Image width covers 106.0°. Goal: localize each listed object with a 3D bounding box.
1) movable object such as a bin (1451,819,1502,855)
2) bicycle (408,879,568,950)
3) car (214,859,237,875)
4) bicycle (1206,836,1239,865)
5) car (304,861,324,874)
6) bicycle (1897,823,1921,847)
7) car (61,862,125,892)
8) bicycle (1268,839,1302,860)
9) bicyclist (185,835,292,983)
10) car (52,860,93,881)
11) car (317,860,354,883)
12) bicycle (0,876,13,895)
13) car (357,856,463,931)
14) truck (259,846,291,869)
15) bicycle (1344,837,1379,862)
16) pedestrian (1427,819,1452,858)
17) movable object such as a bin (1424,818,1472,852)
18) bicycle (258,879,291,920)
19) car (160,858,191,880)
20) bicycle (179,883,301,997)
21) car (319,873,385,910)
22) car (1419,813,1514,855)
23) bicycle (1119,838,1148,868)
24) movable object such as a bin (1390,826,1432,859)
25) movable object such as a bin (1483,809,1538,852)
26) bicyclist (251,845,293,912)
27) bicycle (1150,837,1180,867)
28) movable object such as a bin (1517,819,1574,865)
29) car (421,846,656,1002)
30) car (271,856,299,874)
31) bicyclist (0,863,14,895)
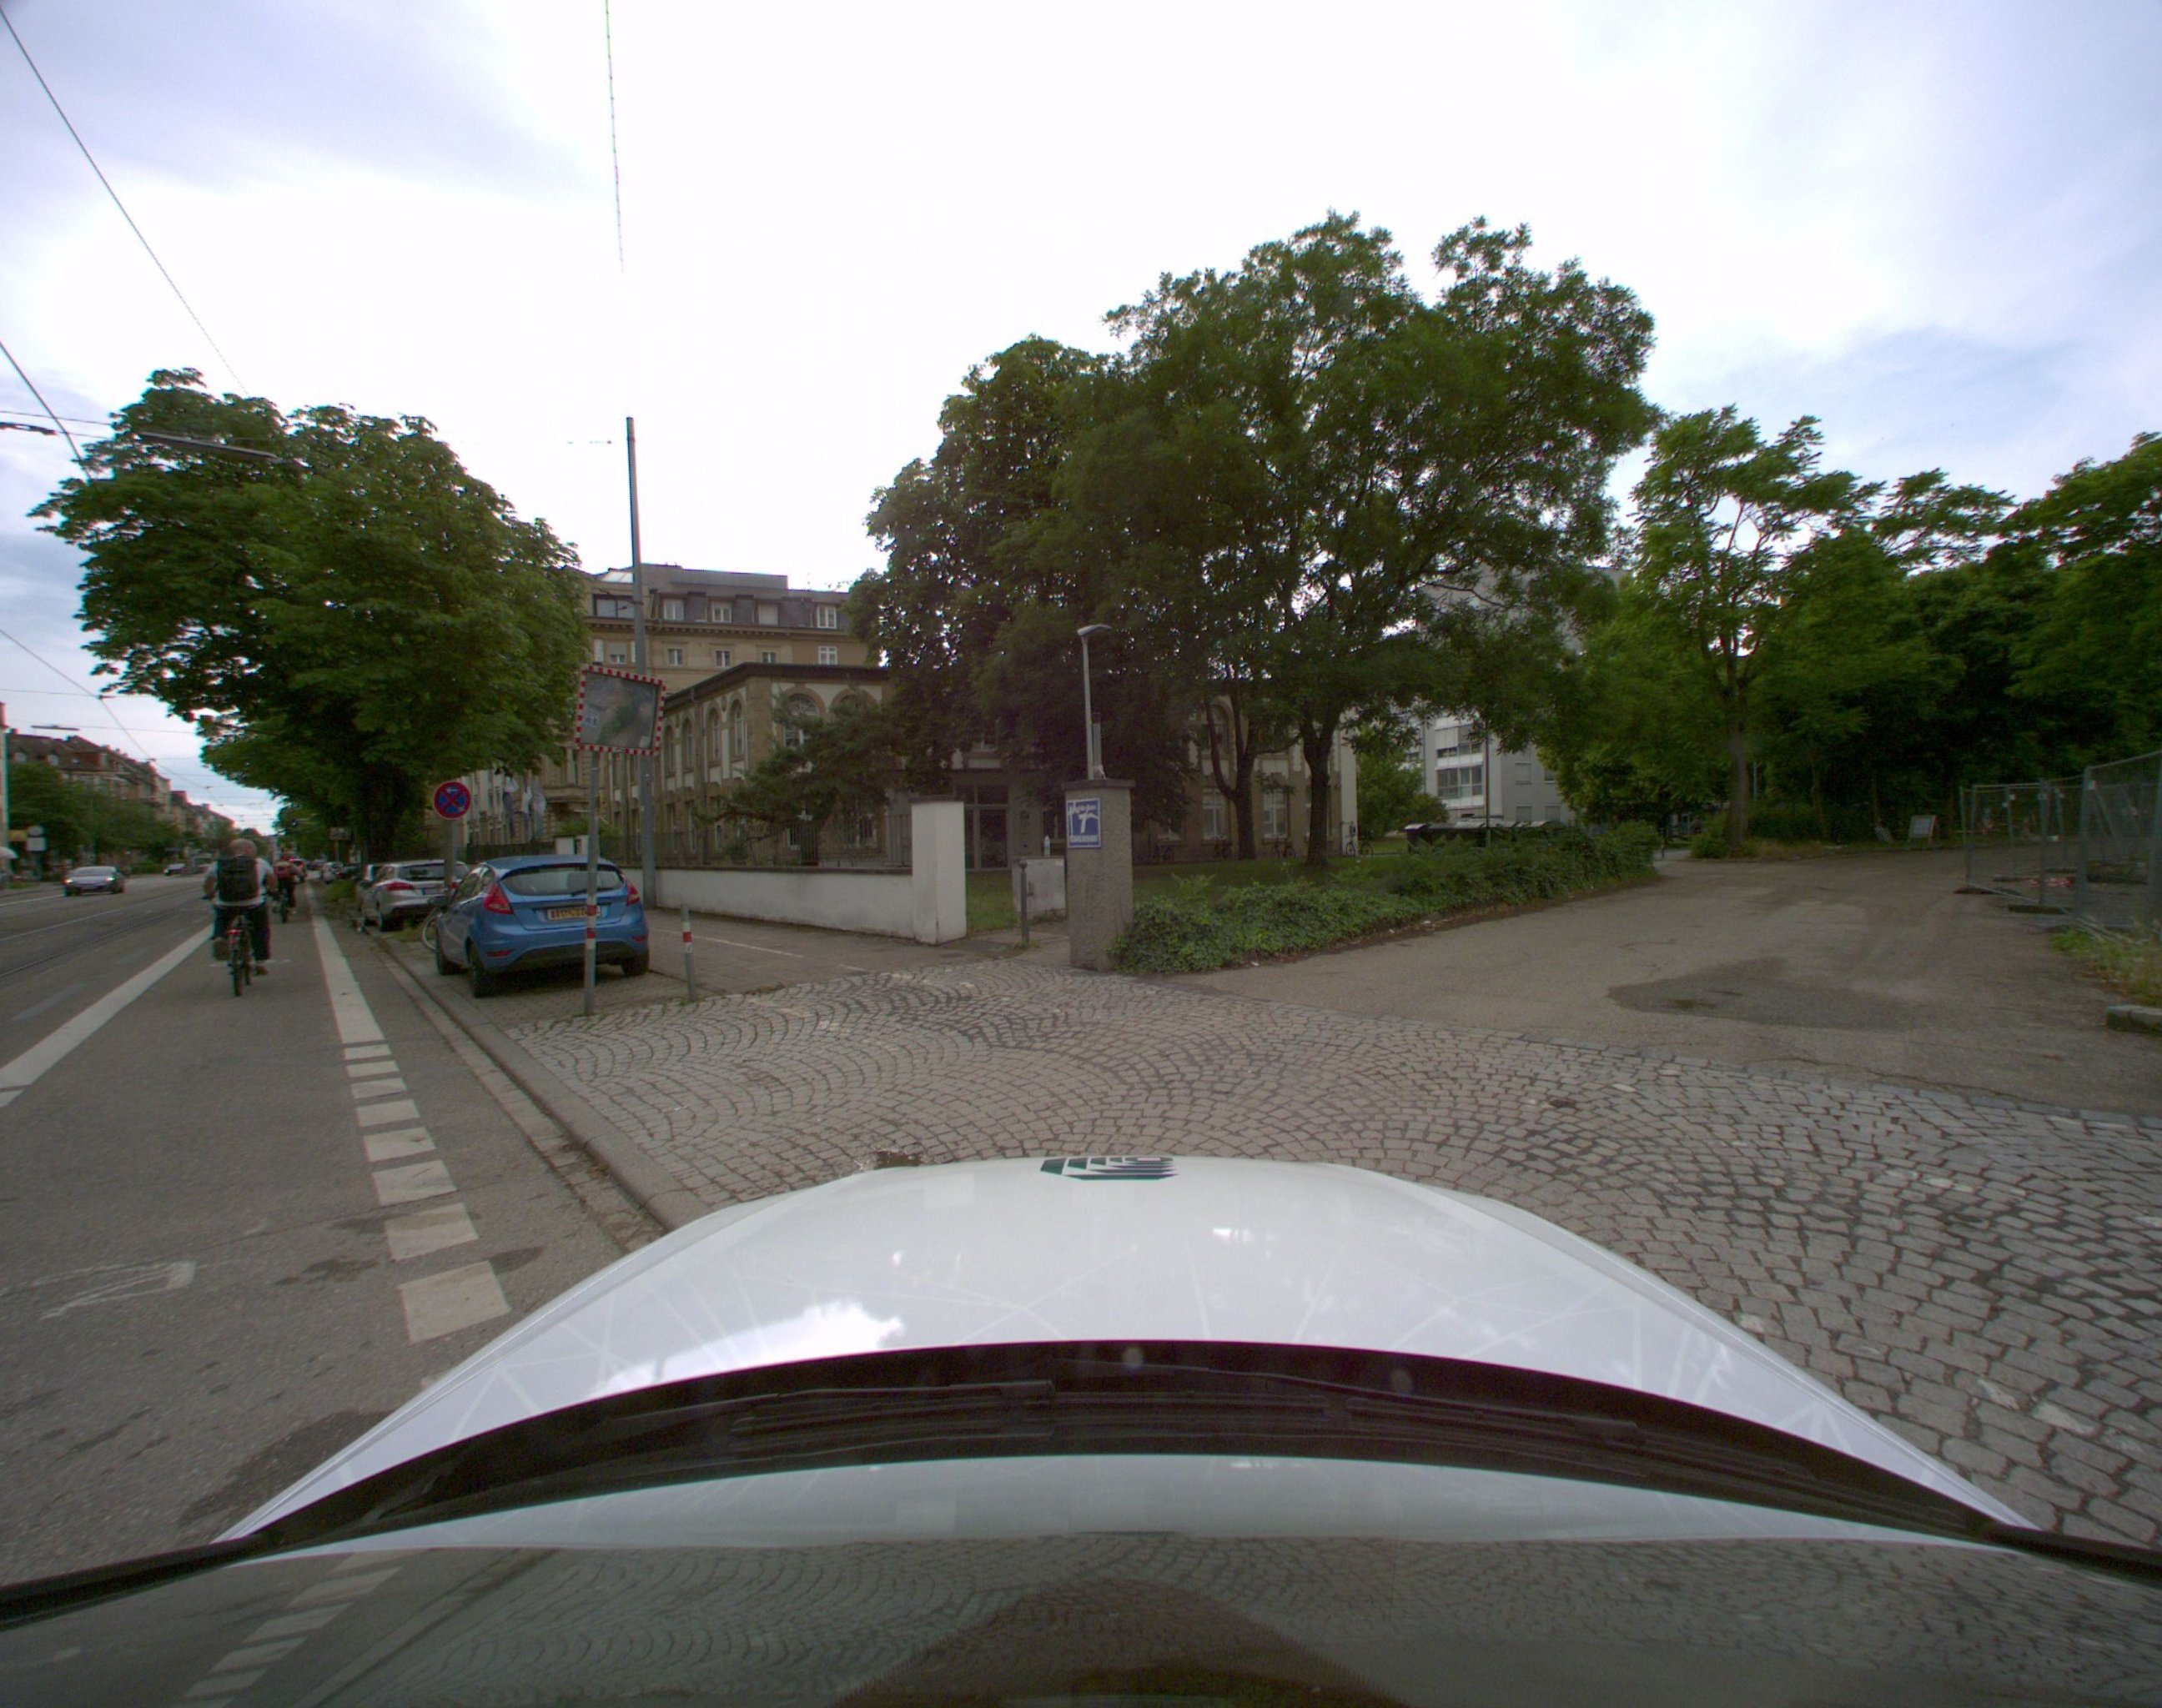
[{"bbox_3d":[14.577,-0.633,30.057,1.057,1.264,1.344,-2,1,-22],"label":"movable object such as a bin"},{"bbox_3d":[-9.657,0.955,13.342,0.527,0.957,2.031,-1,2,42],"label":"bicycle"},{"bbox_3d":[-133.408,1.989,126.986,2.225,2.255,3.951,-3,2,-44],"label":"car"},{"bbox_3d":[5.804,-0.160,33.466,0.617,1.119,2.214,-2,1,-10],"label":"bicycle"},{"bbox_3d":[-119.194,2.127,126.607,3.949,2.013,2.012,-1,0,43],"label":"car"},{"bbox_3d":[31.374,-0.721,30.853,1.158,0.905,0.415,-2,2,-34],"label":"bicycle"},{"bbox_3d":[-51.663,1.176,42.653,3.950,1.428,1.757,0,2,45],"label":"car"},{"bbox_3d":[8.571,-0.194,34.317,0.617,0.813,1.938,-2,1,-10],"label":"bicycle"},{"bbox_3d":[-9.540,0.582,9.256,0.667,1.569,0.975,-1,0,-36],"label":"bicyclist"},{"bbox_3d":[-113.163,1.804,91.430,2.197,2.207,4.167,-3,2,-43],"label":"car"},{"bbox_3d":[-48.296,1.102,52.817,1.681,1.399,3.617,-3,2,-42],"label":"car"},{"bbox_3d":[-51.707,1.503,38.881,0.473,0.868,2.112,-3,2,-43],"label":"bicycle"},{"bbox_3d":[-14.908,0.797,18.035,1.489,1.481,3.521,-1,1,-44],"label":"car"},{"bbox_3d":[-150.621,0.626,152.136,10.089,4.029,3.844,-1,2,43],"label":"truck"},{"bbox_3d":[12.164,-0.198,35.378,0.396,1.065,1.817,-2,1,-18],"label":"bicycle"},{"bbox_3d":[16.852,-0.711,38.317,0.757,1.809,0.693,-2,-1,-21],"label":"pedestrian"},{"bbox_3d":[14.205,-0.741,31.534,1.058,1.264,1.343,-2,1,-25],"label":"movable object such as a bin"},{"bbox_3d":[-20.258,1.125,20.472,0.494,0.979,2.032,-1,-1,-42],"label":"bicycle"},{"bbox_3d":[-104.559,1.737,94.069,3.950,2.417,2.226,-1,2,44],"label":"car"},{"bbox_3d":[-9.679,0.932,9.440,0.669,1.117,1.846,0,0,-36],"label":"bicycle"},{"bbox_3d":[-29.841,1.486,33.391,1.890,1.251,3.952,-3,2,-42],"label":"car"},{"bbox_3d":[19.498,-1.000,41.197,4.354,2.013,1.841,-1,0,-21],"label":"car"},{"bbox_3d":[2.067,-0.066,32.327,0.617,1.119,2.214,-2,1,-10],"label":"bicycle"},{"bbox_3d":[13.286,-0.472,32.808,1.050,1.264,1.352,-1,1,-4],"label":"movable object such as a bin"},{"bbox_3d":[15.064,-0.814,28.618,1.057,1.456,1.344,-1,1,-22],"label":"movable object such as a bin"},{"bbox_3d":[-20.114,0.592,20.253,0.663,1.610,0.909,-2,1,-43],"label":"bicyclist"},{"bbox_3d":[3.348,-0.098,32.631,0.617,1.119,2.214,-2,1,-10],"label":"bicycle"},{"bbox_3d":[15.454,-0.420,27.154,1.052,1.449,1.351,-1,3,-8],"label":"movable object such as a bin"},{"bbox_3d":[-6.610,0.687,9.796,1.689,1.460,3.390,-4,3,-44],"label":"car"},{"bbox_3d":[-80.752,1.128,82.676,1.827,1.708,3.654,-1,0,-41],"label":"car"},{"bbox_3d":[-51.604,1.191,38.724,0.851,1.500,1.015,-3,2,-43],"label":"bicyclist"}]
